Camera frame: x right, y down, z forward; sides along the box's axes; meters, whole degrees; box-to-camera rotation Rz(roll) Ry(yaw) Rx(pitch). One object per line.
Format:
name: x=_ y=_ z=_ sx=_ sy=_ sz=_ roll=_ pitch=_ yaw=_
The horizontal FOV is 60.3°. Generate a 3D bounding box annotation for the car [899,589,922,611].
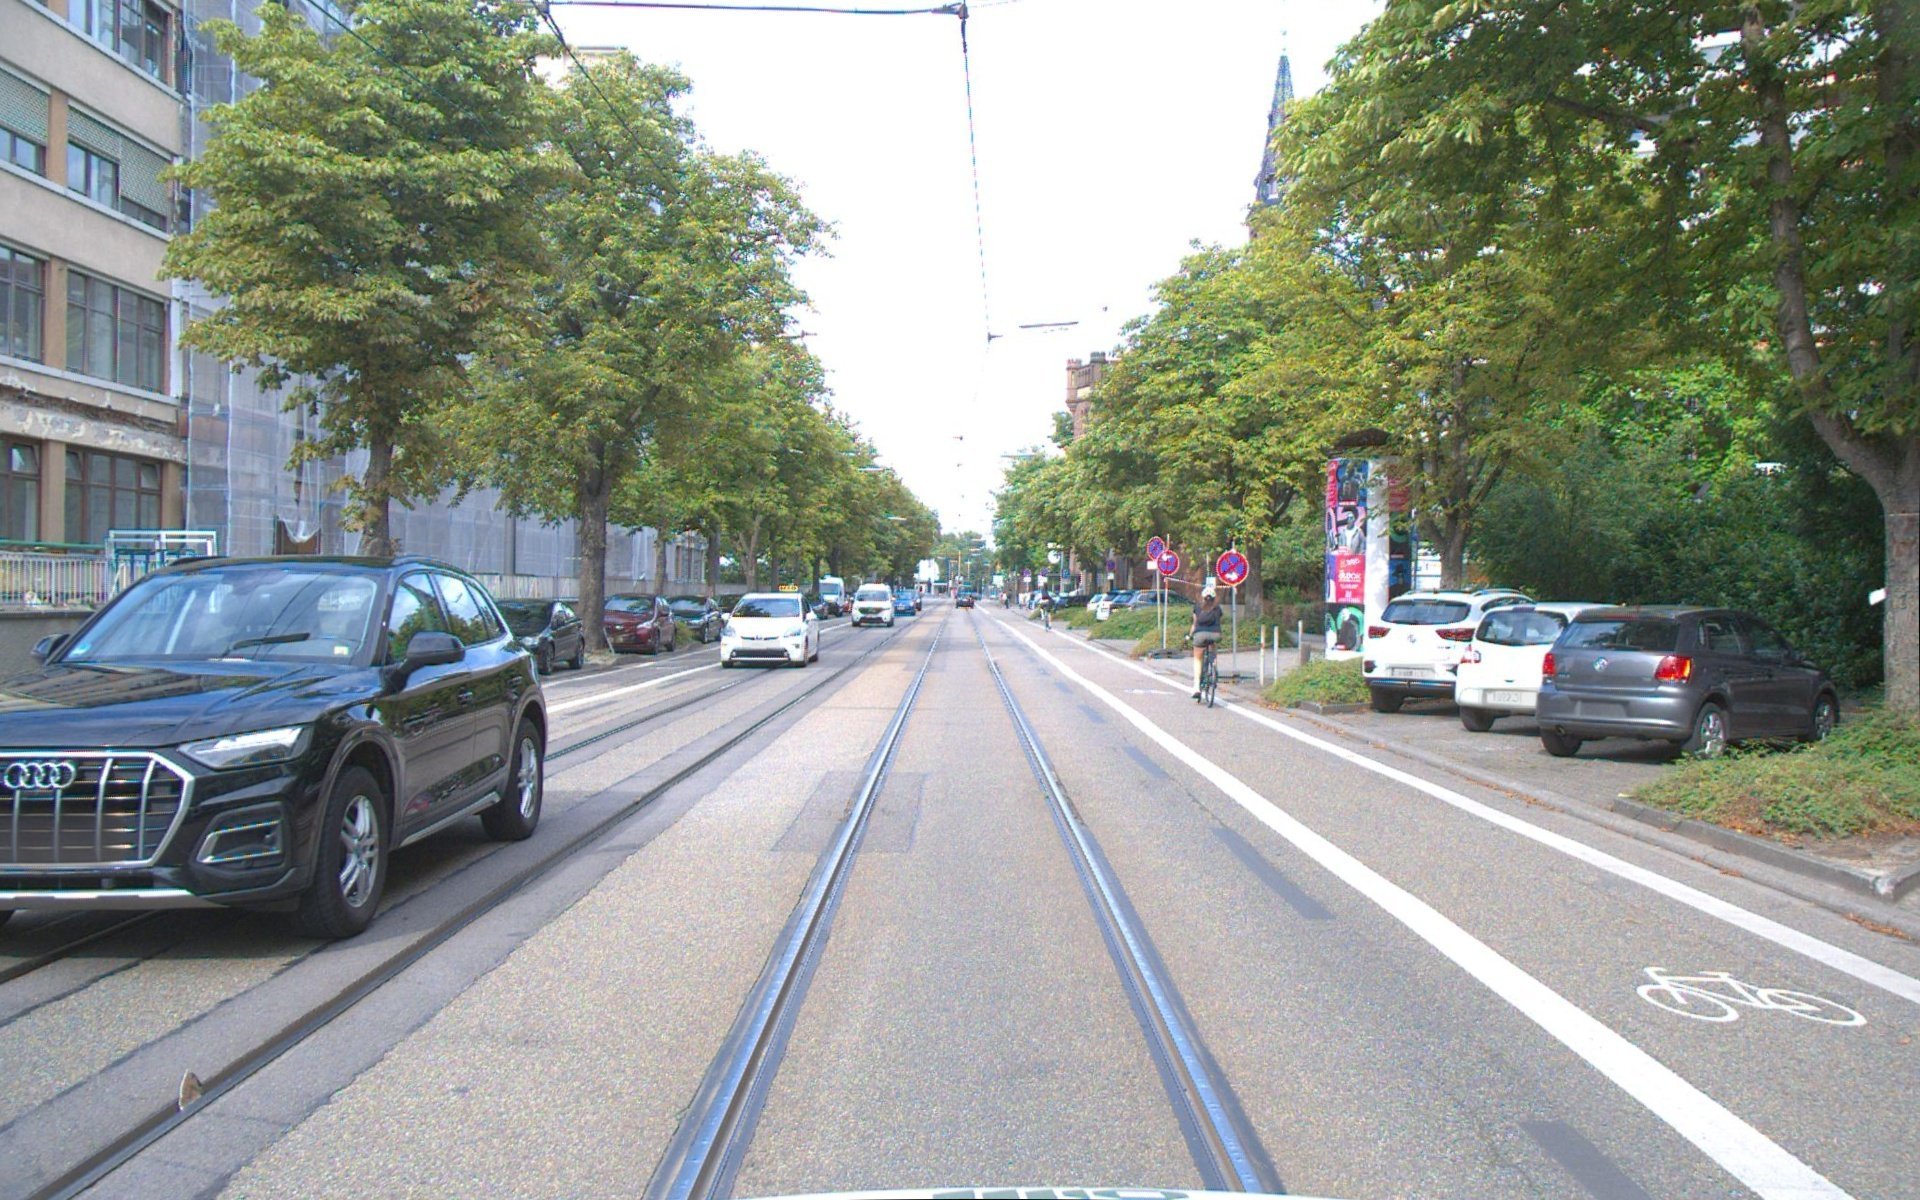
car: x=-3.928 y=-0.026 z=131.462 sx=1.697 sy=1.657 sz=4.377 roll=-1 pitch=0 yaw=-1

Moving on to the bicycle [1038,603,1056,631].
bicycle: x=3.456 y=0.656 z=65.822 sx=0.650 sy=1.062 sz=1.841 roll=1 pitch=0 yaw=0

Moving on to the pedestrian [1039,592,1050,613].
pedestrian: x=7.386 y=0.245 z=144.528 sx=0.732 sy=1.821 sz=0.731 roll=1 pitch=-1 yaw=15

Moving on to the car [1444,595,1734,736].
car: x=7.438 y=0.717 z=19.435 sx=3.612 sy=1.500 sz=1.658 roll=1 pitch=0 yaw=-40

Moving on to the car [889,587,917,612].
car: x=-3.692 y=-0.055 z=107.078 sx=1.697 sy=1.522 sz=4.378 roll=0 pitch=1 yaw=0

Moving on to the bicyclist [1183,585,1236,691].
bicyclist: x=3.578 y=0.533 z=23.805 sx=0.581 sy=1.485 sz=0.875 roll=1 pitch=0 yaw=-2

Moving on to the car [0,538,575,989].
car: x=-3.345 y=0.582 z=8.249 sx=1.810 sy=1.640 sz=4.334 roll=1 pitch=0 yaw=0

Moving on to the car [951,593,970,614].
car: x=0.053 y=0.323 z=157.833 sx=1.758 sy=1.855 sz=4.677 roll=1 pitch=0 yaw=-1

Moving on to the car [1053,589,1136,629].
car: x=5.763 y=0.390 z=70.616 sx=1.654 sy=1.630 sz=3.621 roll=0 pitch=0 yaw=44

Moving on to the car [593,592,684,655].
car: x=-8.262 y=0.564 z=42.777 sx=1.602 sy=1.522 sz=3.962 roll=1 pitch=0 yaw=-1

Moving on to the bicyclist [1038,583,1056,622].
bicyclist: x=3.468 y=0.103 z=65.826 sx=0.645 sy=1.522 sz=0.929 roll=1 pitch=0 yaw=0

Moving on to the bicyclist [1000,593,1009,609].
bicyclist: x=4.471 y=0.097 z=166.988 sx=0.828 sy=1.531 sz=0.769 roll=1 pitch=0 yaw=8

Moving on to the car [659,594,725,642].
car: x=-8.378 y=0.536 z=51.976 sx=1.558 sy=1.427 sz=3.961 roll=1 pitch=0 yaw=-2

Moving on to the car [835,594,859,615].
car: x=-8.121 y=0.305 z=118.841 sx=1.558 sy=1.427 sz=3.961 roll=1 pitch=0 yaw=-2

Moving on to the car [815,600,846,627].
car: x=-7.281 y=0.736 z=93.015 sx=1.558 sy=1.427 sz=3.961 roll=1 pitch=0 yaw=-2

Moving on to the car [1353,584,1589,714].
car: x=7.051 y=0.633 z=22.646 sx=1.654 sy=1.630 sz=3.621 roll=0 pitch=0 yaw=44

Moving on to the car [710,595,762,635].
car: x=-8.409 y=0.540 z=62.287 sx=1.558 sy=1.427 sz=3.961 roll=1 pitch=0 yaw=-2

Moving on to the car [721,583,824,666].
car: x=-3.885 y=0.477 z=34.914 sx=1.697 sy=1.640 sz=4.334 roll=0 pitch=0 yaw=0

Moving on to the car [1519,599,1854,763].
car: x=7.308 y=0.741 z=16.506 sx=3.612 sy=1.444 sz=1.658 roll=1 pitch=0 yaw=-40

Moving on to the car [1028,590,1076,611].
car: x=8.075 y=0.040 z=144.870 sx=3.910 sy=1.722 sz=1.998 roll=1 pitch=0 yaw=-6

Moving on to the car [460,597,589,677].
car: x=-8.378 y=0.676 z=32.116 sx=1.558 sy=1.427 sz=3.961 roll=1 pitch=0 yaw=-2

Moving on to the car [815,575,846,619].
car: x=-8.284 y=-0.201 z=106.358 sx=1.686 sy=2.751 sz=5.468 roll=1 pitch=0 yaw=-2

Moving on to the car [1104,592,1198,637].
car: x=7.151 y=0.527 z=61.691 sx=1.654 sy=1.630 sz=3.621 roll=0 pitch=0 yaw=44

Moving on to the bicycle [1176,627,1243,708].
bicycle: x=3.569 y=0.943 z=23.804 sx=0.581 sy=1.062 sz=1.977 roll=1 pitch=0 yaw=-2

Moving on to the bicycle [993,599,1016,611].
bicycle: x=4.486 y=0.496 z=166.987 sx=2.226 sy=1.210 sz=0.769 roll=1 pitch=0 yaw=7

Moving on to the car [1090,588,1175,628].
car: x=7.152 y=0.328 z=68.490 sx=1.654 sy=1.630 sz=3.621 roll=0 pitch=0 yaw=44

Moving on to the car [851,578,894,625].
car: x=-3.735 y=0.057 z=71.098 sx=1.697 sy=1.917 sz=4.377 roll=1 pitch=0 yaw=-1
